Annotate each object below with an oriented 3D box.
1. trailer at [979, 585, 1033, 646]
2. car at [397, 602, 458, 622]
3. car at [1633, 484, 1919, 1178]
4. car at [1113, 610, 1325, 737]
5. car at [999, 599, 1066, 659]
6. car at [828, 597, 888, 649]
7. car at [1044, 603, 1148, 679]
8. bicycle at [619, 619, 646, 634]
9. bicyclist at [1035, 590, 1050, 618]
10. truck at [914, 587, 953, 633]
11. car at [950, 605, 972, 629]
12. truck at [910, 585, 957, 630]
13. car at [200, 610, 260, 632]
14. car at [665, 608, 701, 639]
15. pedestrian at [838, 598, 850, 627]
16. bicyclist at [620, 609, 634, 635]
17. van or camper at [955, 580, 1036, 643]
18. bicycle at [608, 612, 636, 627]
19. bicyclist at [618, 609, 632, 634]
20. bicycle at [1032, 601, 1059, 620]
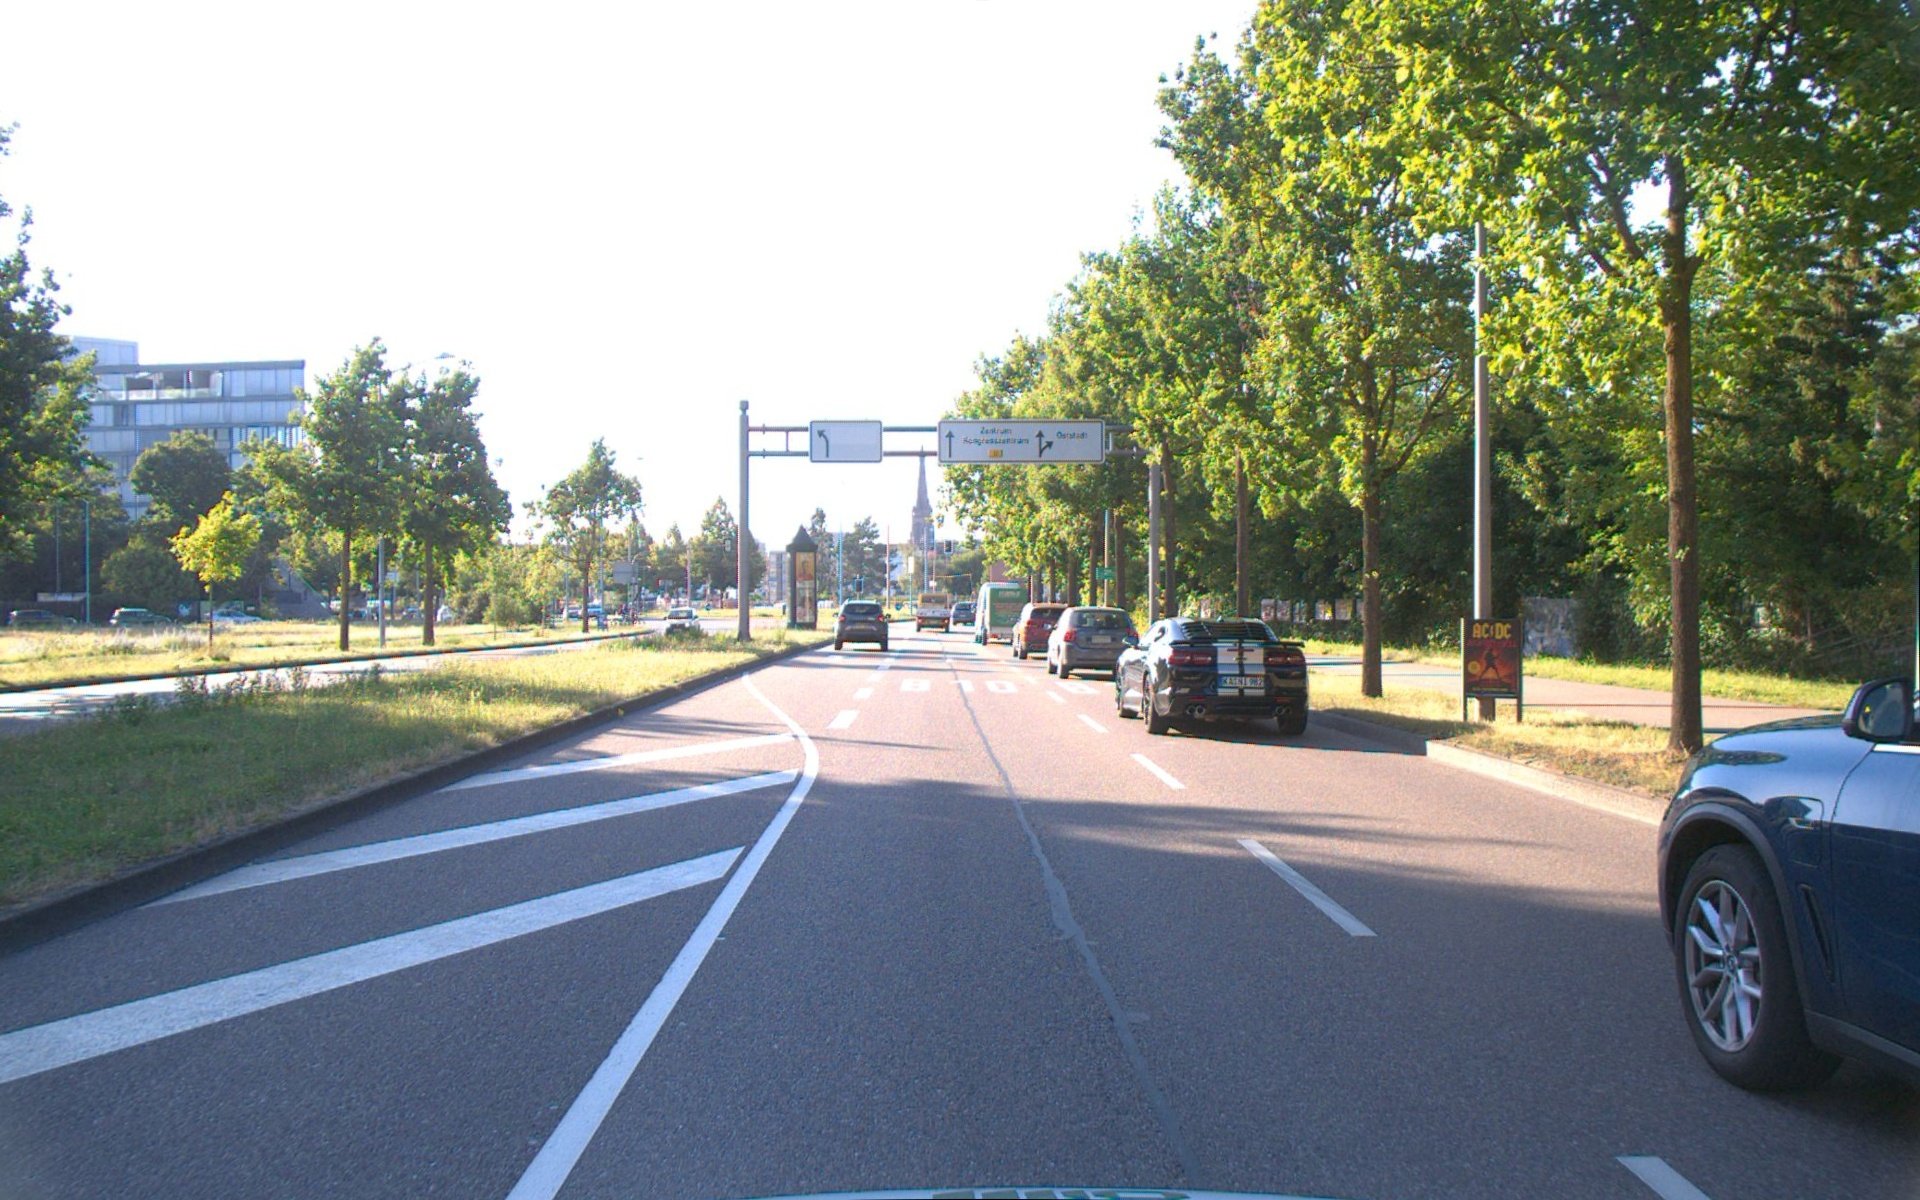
[{"bbox_3d":[1.894,0.642,69.316,2.047,2.442,3.500,1,0,-1],"label":"trailer"},{"bbox_3d":[-42.685,0.936,132.582,4.275,1.534,1.845,-1,0,-44],"label":"car"},{"bbox_3d":[3.398,0.591,3.625,1.915,1.757,4.698,1,0,0],"label":"car"},{"bbox_3d":[3.070,0.821,20.522,1.817,1.361,4.624,0,0,-1],"label":"car"},{"bbox_3d":[2.111,0.826,48.804,1.712,1.649,3.819,1,0,-1],"label":"car"},{"bbox_3d":[-3.479,0.747,55.827,1.869,1.689,3.995,0,0,-6],"label":"car"},{"bbox_3d":[2.847,0.826,35.328,1.712,1.499,3.817,-1,0,-3],"label":"car"},{"bbox_3d":[-23.497,1.885,118.626,1.868,1.037,0.505,1,0,6],"label":"bicycle"},{"bbox_3d":[5.953,0.288,119.409,0.920,1.932,0.599,-2,-1,35],"label":"bicyclist"},{"bbox_3d":[-1.614,0.599,99.747,2.175,2.697,4.771,0,0,-3],"label":"truck"},{"bbox_3d":[0.078,1.231,121.078,1.569,1.638,3.999,0,0,-1],"label":"car"},{"bbox_3d":[-1.652,0.425,100.367,2.529,2.602,6.246,-1,0,-4],"label":"truck"},{"bbox_3d":[-53.786,1.565,121.868,3.680,1.534,1.845,-1,0,-44],"label":"car"},{"bbox_3d":[-14.809,1.228,88.552,1.531,1.602,3.409,0,0,-4],"label":"car"},{"bbox_3d":[-8.128,0.873,115.939,0.774,2.049,0.700,0,0,-7],"label":"pedestrian"},{"bbox_3d":[-23.900,1.586,118.677,0.796,1.820,0.496,1,0,7],"label":"bicyclist"},{"bbox_3d":[1.552,0.478,75.051,2.244,2.675,6.563,1,0,-12],"label":"van or camper"},{"bbox_3d":[-23.964,1.368,117.321,1.868,1.037,0.505,1,0,14],"label":"bicycle"},{"bbox_3d":[-23.787,1.530,117.367,0.795,1.801,0.497,1,0,14],"label":"bicyclist"},{"bbox_3d":[6.154,0.752,119.254,1.871,1.266,0.607,-2,-1,35],"label":"bicycle"}]
